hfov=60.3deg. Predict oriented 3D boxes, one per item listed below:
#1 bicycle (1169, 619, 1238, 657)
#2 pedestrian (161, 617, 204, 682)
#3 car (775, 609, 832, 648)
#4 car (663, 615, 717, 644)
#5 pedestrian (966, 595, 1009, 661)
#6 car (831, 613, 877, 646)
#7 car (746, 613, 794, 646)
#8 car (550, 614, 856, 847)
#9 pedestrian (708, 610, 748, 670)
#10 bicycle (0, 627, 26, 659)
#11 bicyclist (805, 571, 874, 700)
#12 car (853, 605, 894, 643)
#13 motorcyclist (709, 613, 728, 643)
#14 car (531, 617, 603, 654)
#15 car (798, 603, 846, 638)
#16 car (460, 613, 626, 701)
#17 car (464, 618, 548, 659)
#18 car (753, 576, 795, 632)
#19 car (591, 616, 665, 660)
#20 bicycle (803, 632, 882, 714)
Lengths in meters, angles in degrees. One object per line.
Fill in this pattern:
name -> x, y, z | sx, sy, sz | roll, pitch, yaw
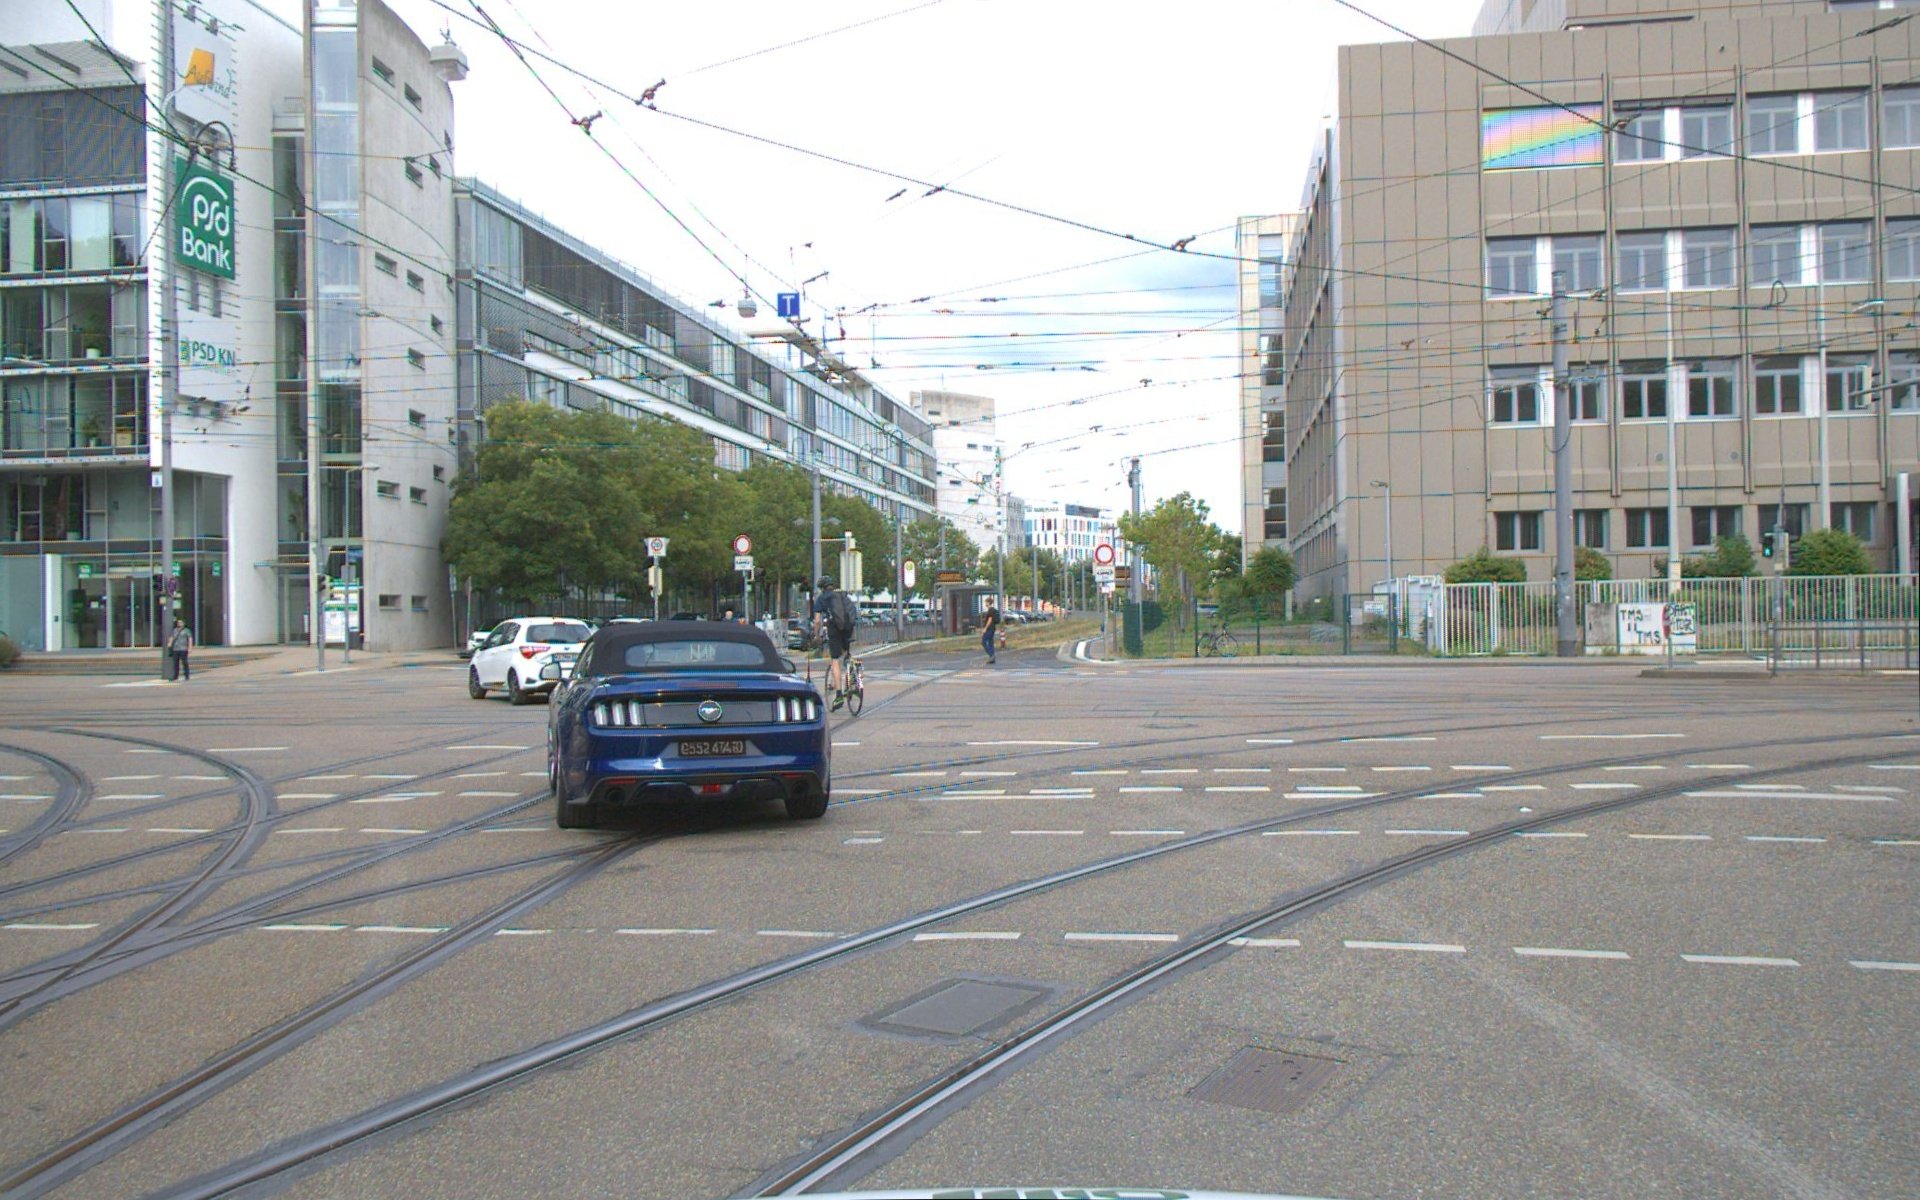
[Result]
bicycle -> 7.103, 1.108, 48.294 | 0.628, 0.998, 2.129 | -1, -3, -38
pedestrian -> -23.284, 1.476, 49.536 | 0.816, 1.897, 0.766 | -2, -1, 16
car -> -6.939, 1.257, 73.651 | 1.840, 1.657, 4.088 | -1, -1, 4
car -> -15.224, 1.638, 93.383 | 1.944, 1.584, 4.515 | 1, 0, 5
pedestrian -> 0.827, 0.843, 49.583 | 1.062, 1.931, 0.902 | -2, -1, 13
car -> -5.558, 1.517, 87.188 | 1.829, 1.634, 4.214 | -1, -1, 4
car -> -10.494, 1.611, 91.442 | 1.678, 1.689, 4.136 | 1, 0, 7
car -> -2.113, 0.827, 12.528 | 1.845, 1.428, 4.264 | 0, 0, -15
pedestrian -> -7.480, 1.295, 53.398 | 0.968, 1.888, 0.902 | -2, -1, 15
bicycle -> -35.890, 1.592, 61.850 | 0.572, 1.197, 2.115 | 0, -1, 5
bicyclist -> -1.779, 0.511, 24.254 | 0.783, 1.817, 1.228 | -1, -1, -14
car -> -4.793, 1.307, 92.119 | 1.748, 2.022, 4.122 | -1, -1, 4
motorcyclist -> -13.164, 1.528, 90.047 | 0.802, 1.645, 0.883 | 0, -1, 8
car -> -17.862, 1.584, 75.321 | 1.790, 1.584, 4.220 | 1, 0, 7
car -> -6.605, 0.970, 79.504 | 1.669, 1.634, 4.080 | -1, -1, 4
car -> -7.791, 1.027, 30.632 | 1.817, 1.464, 4.142 | -1, -1, -32
car -> -18.618, 1.572, 68.018 | 1.790, 1.584, 4.220 | 1, 0, 7
car -> -12.606, 0.297, 112.300 | 1.944, 3.700, 4.515 | 1, 0, 5
car -> -13.528, 1.535, 67.611 | 1.678, 1.689, 4.136 | 1, 0, 7
bicycle -> -1.738, 1.036, 24.153 | 0.787, 1.105, 2.124 | -1, -1, -14
